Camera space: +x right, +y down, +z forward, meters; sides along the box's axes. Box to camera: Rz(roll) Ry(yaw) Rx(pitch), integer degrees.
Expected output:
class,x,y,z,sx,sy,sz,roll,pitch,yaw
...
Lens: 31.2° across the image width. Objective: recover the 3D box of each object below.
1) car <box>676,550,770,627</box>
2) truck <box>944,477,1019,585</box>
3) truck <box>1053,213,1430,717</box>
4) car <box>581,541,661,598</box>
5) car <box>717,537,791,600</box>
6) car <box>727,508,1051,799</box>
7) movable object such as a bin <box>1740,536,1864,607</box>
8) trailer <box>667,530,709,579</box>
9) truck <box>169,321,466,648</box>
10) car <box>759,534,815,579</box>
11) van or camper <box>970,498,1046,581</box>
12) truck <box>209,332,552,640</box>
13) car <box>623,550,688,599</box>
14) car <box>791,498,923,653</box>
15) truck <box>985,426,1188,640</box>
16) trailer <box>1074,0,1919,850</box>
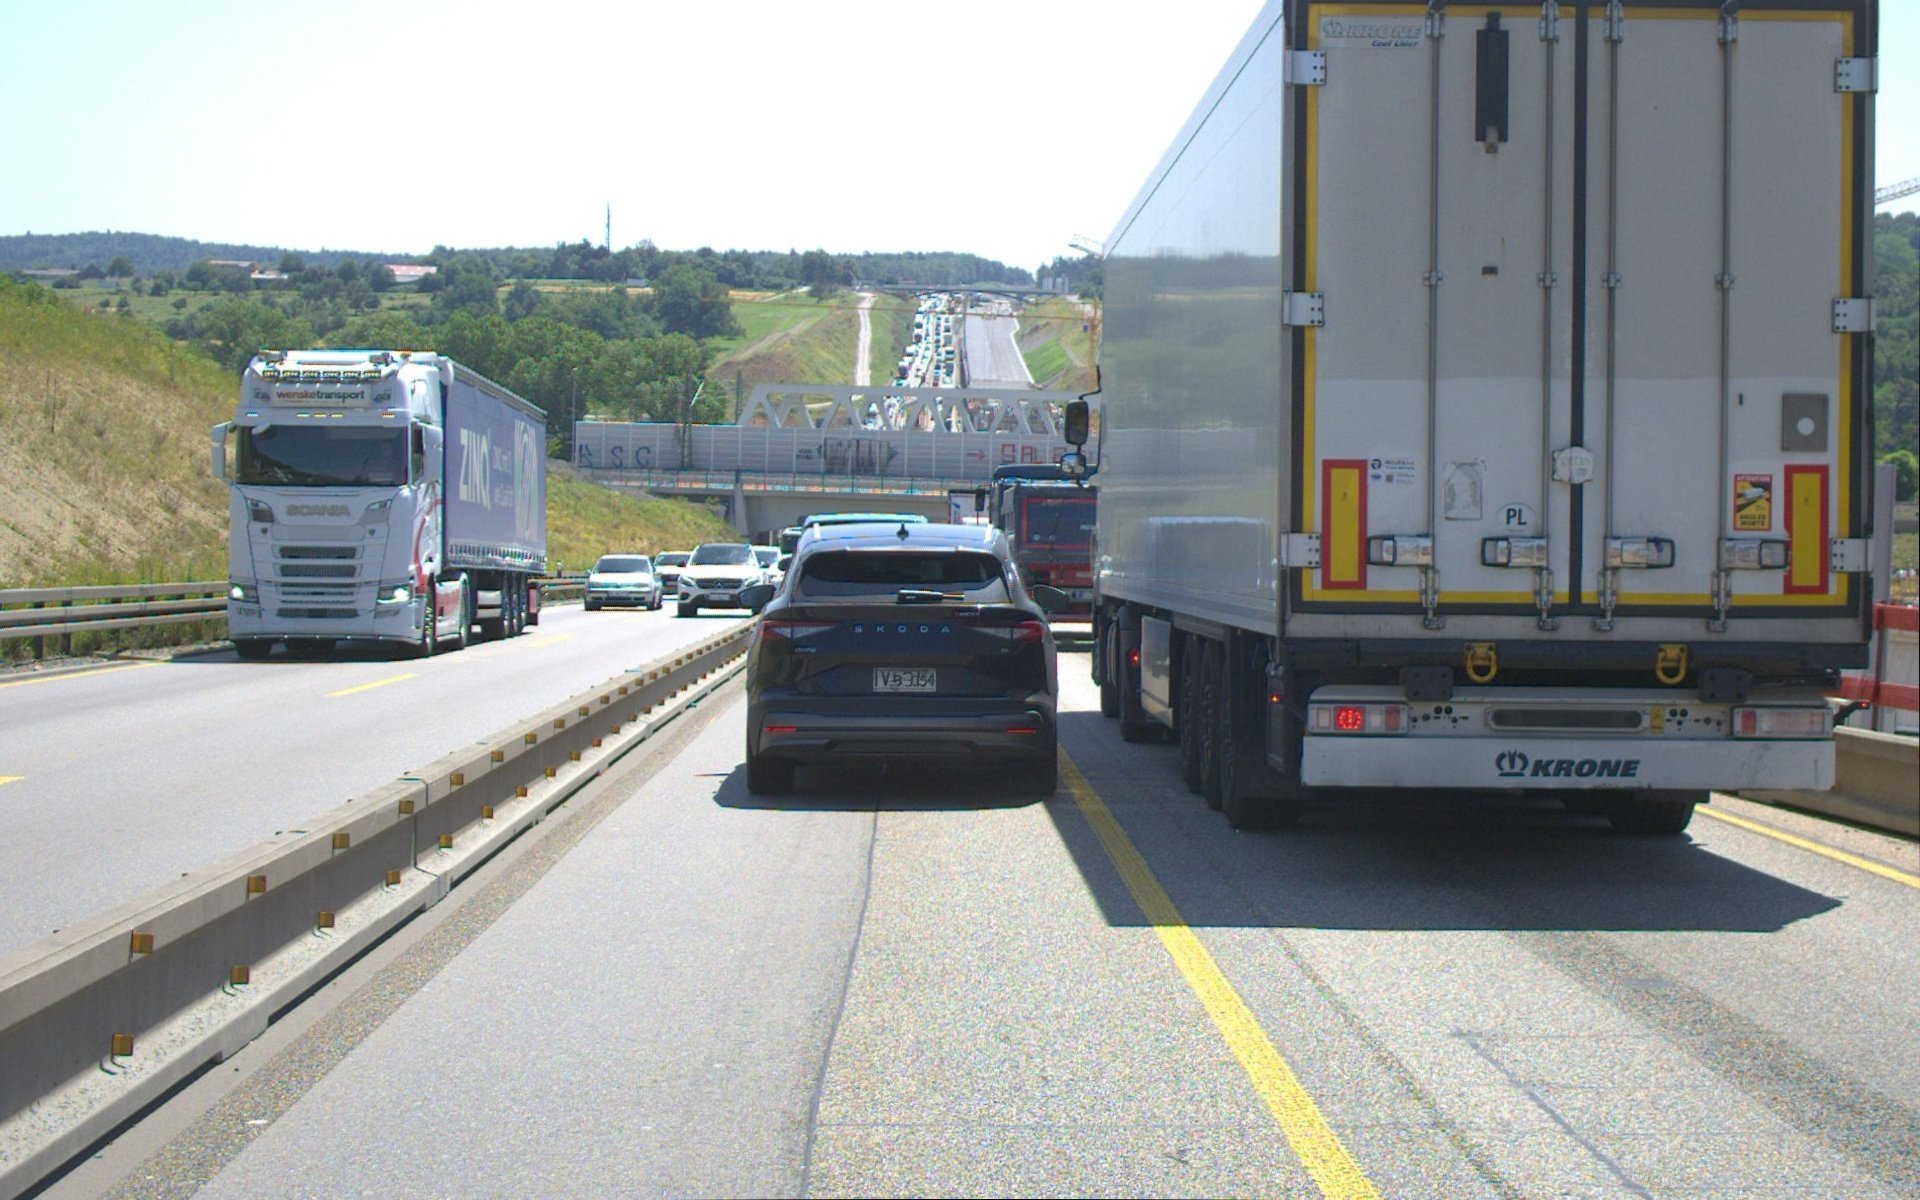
class,x,y,z,sx,sy,sz,roll,pitch,yaw
car,-5.261,-0.279,76.738,1.812,1.632,4.362,0,1,0
truck,0.772,-2.670,132.165,2.517,3.946,7.600,2,1,-1
truck,2.337,-1.109,30.170,2.776,4.044,4.905,0,1,-1
car,-8.451,-0.779,86.008,1.701,1.374,3.967,1,1,-2
car,-5.741,-0.892,96.123,1.891,1.702,4.562,1,1,-2
car,-0.419,0.260,20.918,1.800,1.615,3.298,1,1,-1
movable object such as a bin,35.822,-1.255,146.607,2.887,2.899,9.479,1,1,0
trailer,-11.303,-1.891,143.169,1.646,2.019,4.271,0,1,-3
truck,-8.483,-1.507,45.888,3.239,4.145,4.248,0,1,-1
car,-5.914,-1.502,117.848,1.806,1.472,4.280,1,1,-2
van or camper,1.336,-1.728,97.641,1.993,2.237,4.000,2,1,0
truck,-8.671,-1.669,53.529,3.243,4.145,13.979,0,1,-1
car,-10.272,-0.867,116.079,1.899,1.579,4.515,1,1,-2
car,-1.219,-0.321,41.674,1.475,1.789,3.298,-1,1,0
truck,1.898,-1.059,56.695,2.814,3.124,12.838,0,1,0
trailer,2.538,-1.027,21.796,2.801,4.044,14.118,0,1,-1
